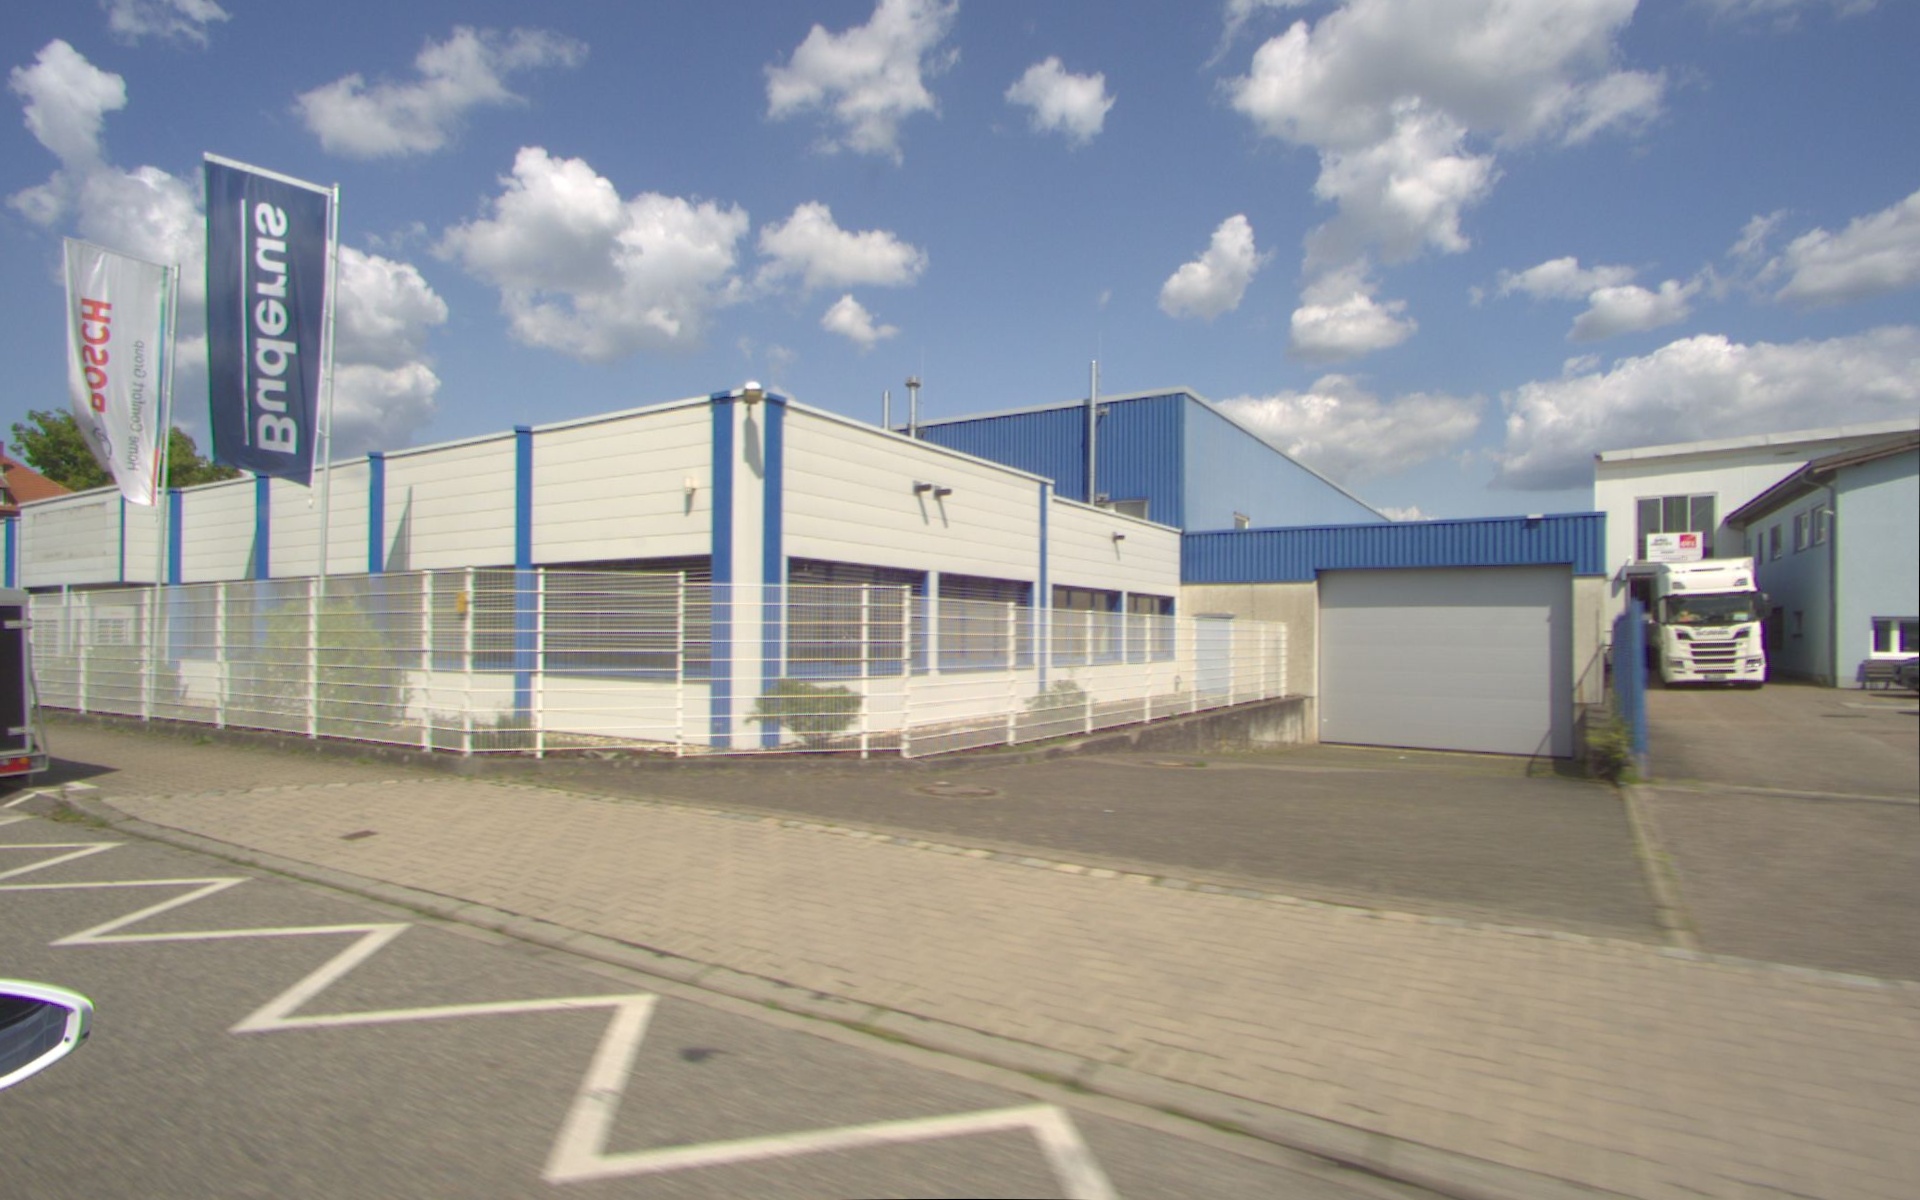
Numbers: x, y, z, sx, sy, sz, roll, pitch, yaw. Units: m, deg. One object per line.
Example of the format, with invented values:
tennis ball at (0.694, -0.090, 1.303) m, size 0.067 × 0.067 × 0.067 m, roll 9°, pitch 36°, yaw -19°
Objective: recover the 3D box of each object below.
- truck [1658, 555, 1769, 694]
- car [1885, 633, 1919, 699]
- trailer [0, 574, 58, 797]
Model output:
truck at (25.185, 0.781, 33.819) m, size 2.593 × 4.050 × 9.607 m, roll -1°, pitch -1°, yaw 35°
car at (26.673, 1.722, 25.742) m, size 3.944 × 1.722 × 1.852 m, roll -1°, pitch -3°, yaw 33°
trailer at (-10.256, 0.795, 9.662) m, size 2.702 × 2.063 × 1.599 m, roll -1°, pitch -3°, yaw 32°
